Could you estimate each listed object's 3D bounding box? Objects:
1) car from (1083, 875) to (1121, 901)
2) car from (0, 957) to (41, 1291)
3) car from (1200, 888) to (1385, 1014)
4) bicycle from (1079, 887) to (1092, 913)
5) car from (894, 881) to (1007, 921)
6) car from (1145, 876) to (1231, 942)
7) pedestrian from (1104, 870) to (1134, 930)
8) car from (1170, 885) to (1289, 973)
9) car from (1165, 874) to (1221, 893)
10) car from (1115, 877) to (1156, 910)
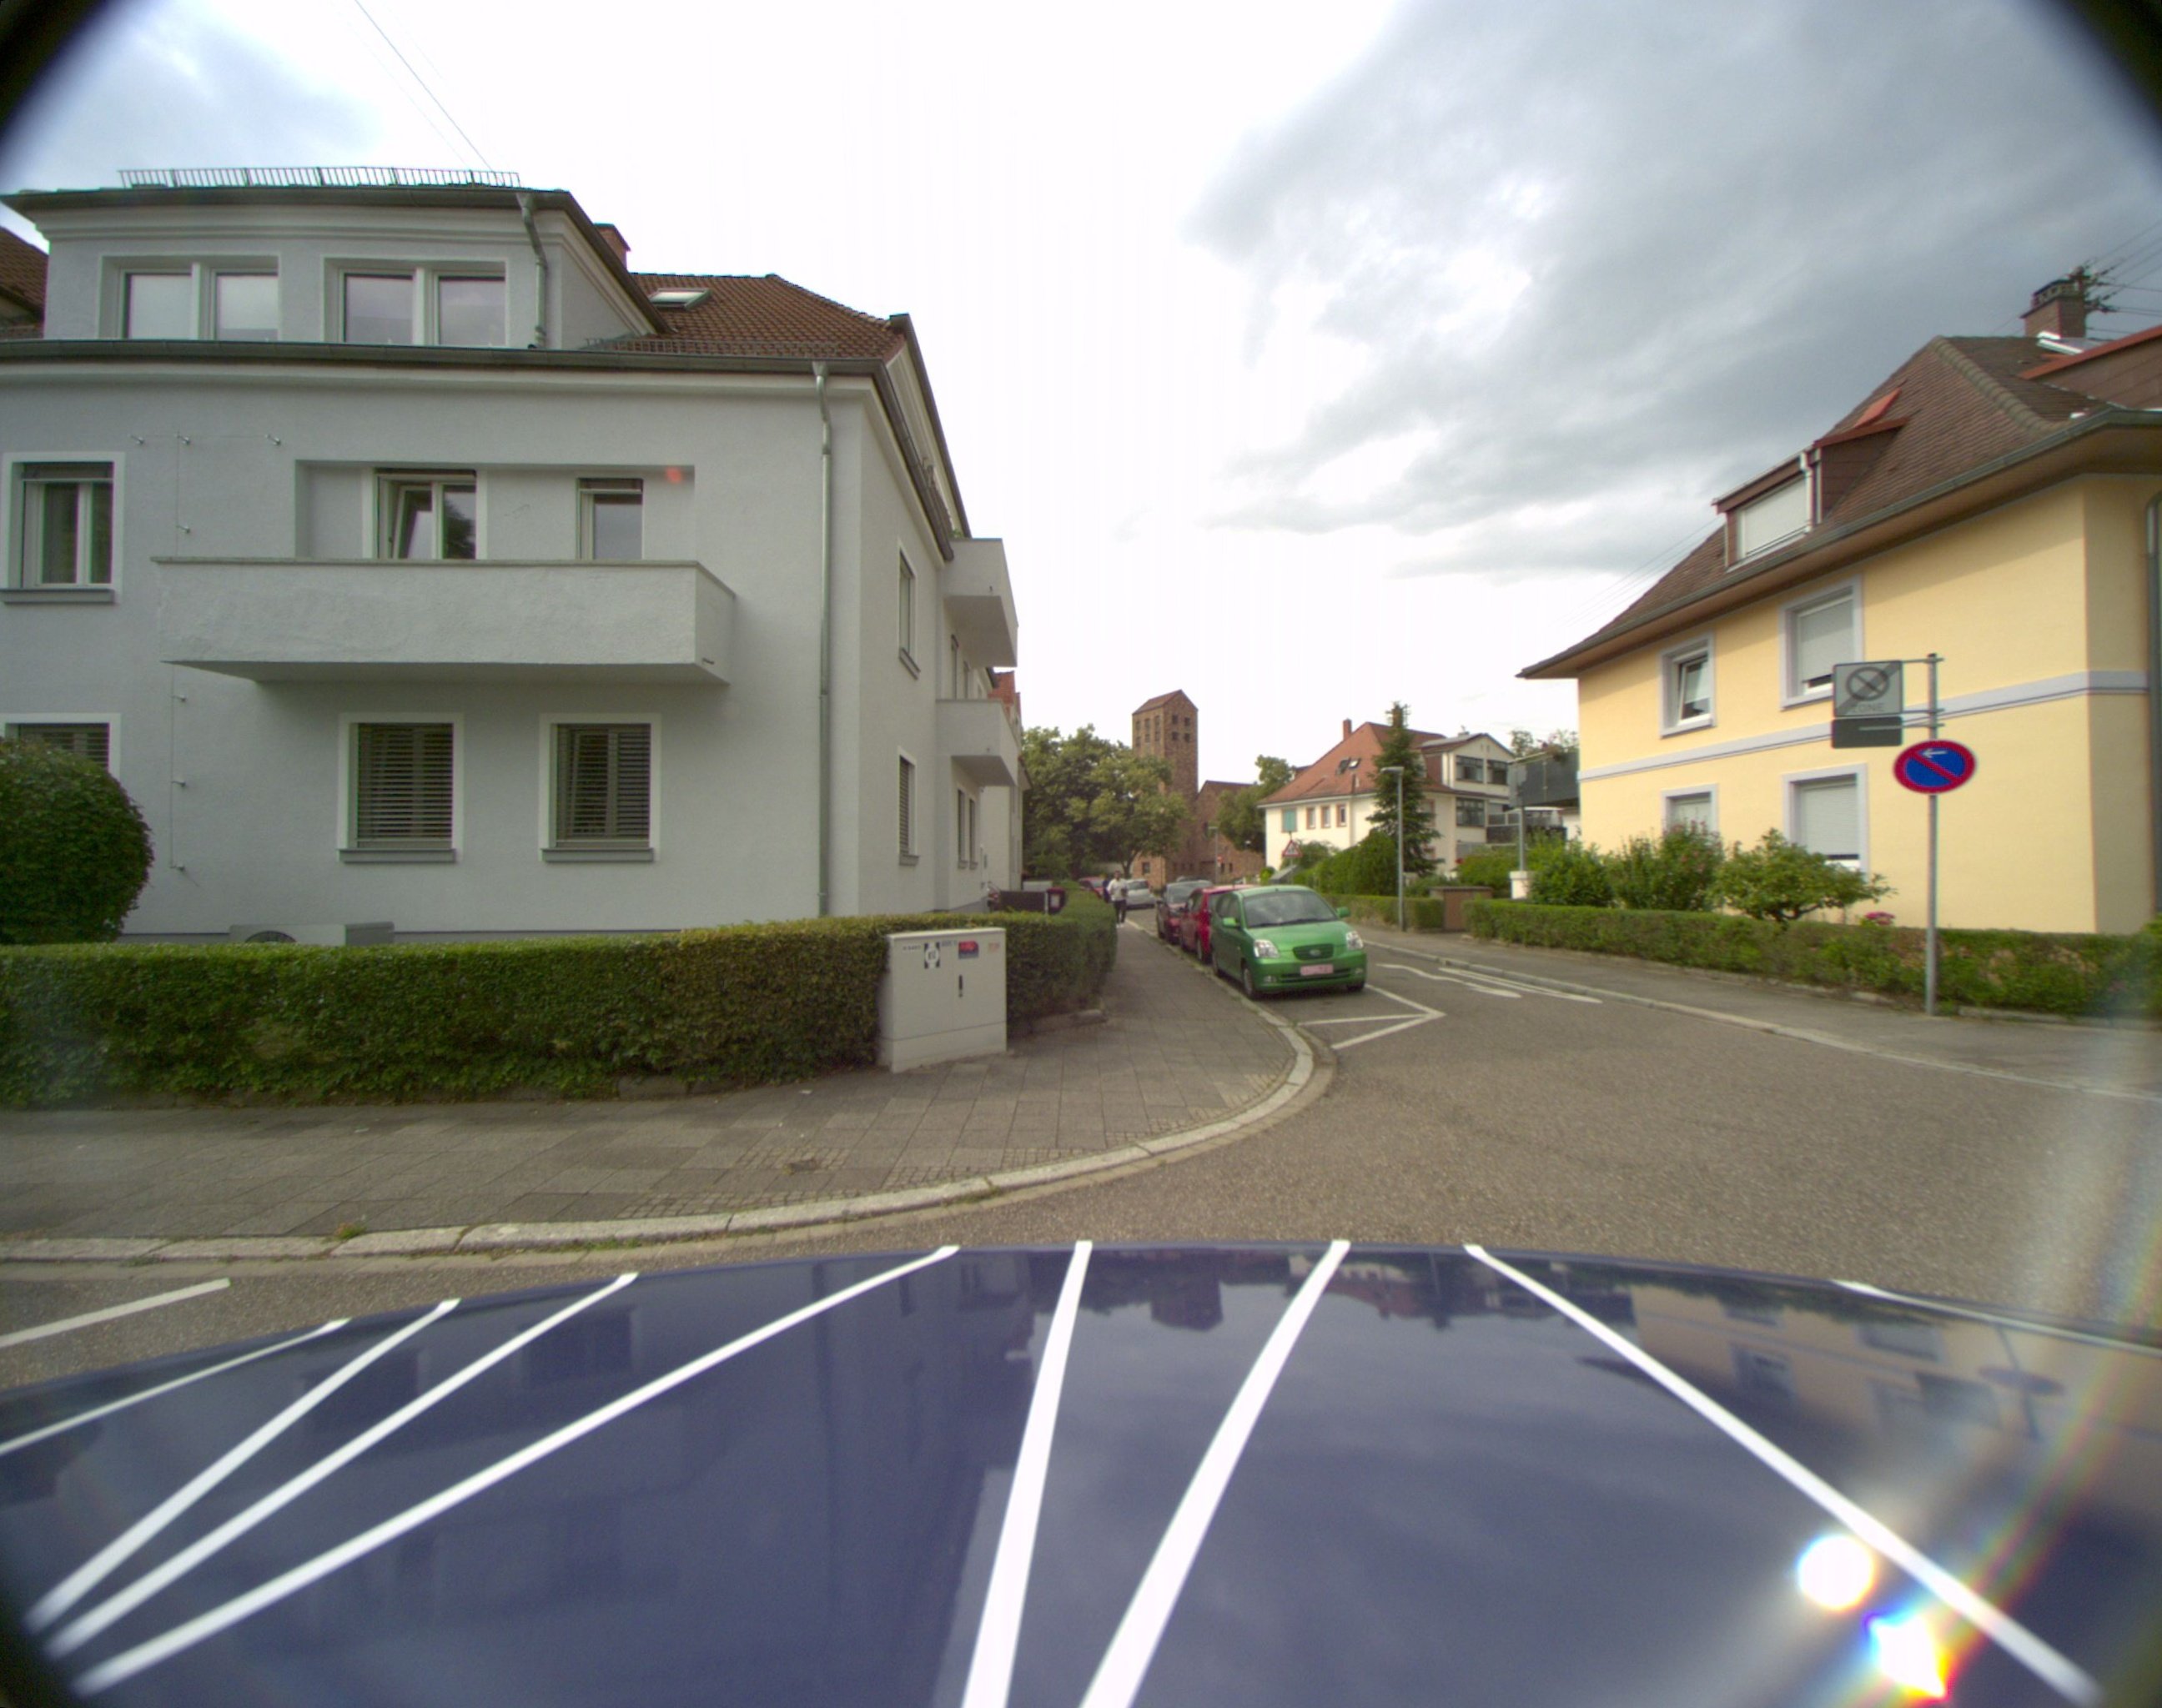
[{"bbox_3d":[1.279,2.106,48.135,1.651,1.486,3.479,-3,-1,-11],"label":"car"},{"bbox_3d":[-6.810,1.188,2.414,4.173,1.462,1.859,0,-1,-4],"label":"car"},{"bbox_3d":[2.964,1.310,11.402,1.650,1.413,3.481,-3,-1,-2],"label":"car"},{"bbox_3d":[0.216,2.122,35.254,0.423,1.097,2.114,0,-1,-5],"label":"bicycle"},{"bbox_3d":[-4.927,1.786,29.195,3.997,1.455,2.000,0,-1,0],"label":"car"},{"bbox_3d":[2.764,1.399,20.330,1.650,1.486,3.481,-3,-1,-2],"label":"car"},{"bbox_3d":[1.212,1.448,24.262,0.883,1.867,1.079,0,-1,-1],"label":"pedestrian"},{"bbox_3d":[2.991,1.476,15.992,1.650,1.486,3.481,-3,-1,-2],"label":"car"},{"bbox_3d":[8.861,2.338,60.250,4.225,1.455,1.684,0,0,-1],"label":"car"},{"bbox_3d":[2.726,1.971,38.762,1.650,1.486,3.481,-3,-1,-2],"label":"car"}]
